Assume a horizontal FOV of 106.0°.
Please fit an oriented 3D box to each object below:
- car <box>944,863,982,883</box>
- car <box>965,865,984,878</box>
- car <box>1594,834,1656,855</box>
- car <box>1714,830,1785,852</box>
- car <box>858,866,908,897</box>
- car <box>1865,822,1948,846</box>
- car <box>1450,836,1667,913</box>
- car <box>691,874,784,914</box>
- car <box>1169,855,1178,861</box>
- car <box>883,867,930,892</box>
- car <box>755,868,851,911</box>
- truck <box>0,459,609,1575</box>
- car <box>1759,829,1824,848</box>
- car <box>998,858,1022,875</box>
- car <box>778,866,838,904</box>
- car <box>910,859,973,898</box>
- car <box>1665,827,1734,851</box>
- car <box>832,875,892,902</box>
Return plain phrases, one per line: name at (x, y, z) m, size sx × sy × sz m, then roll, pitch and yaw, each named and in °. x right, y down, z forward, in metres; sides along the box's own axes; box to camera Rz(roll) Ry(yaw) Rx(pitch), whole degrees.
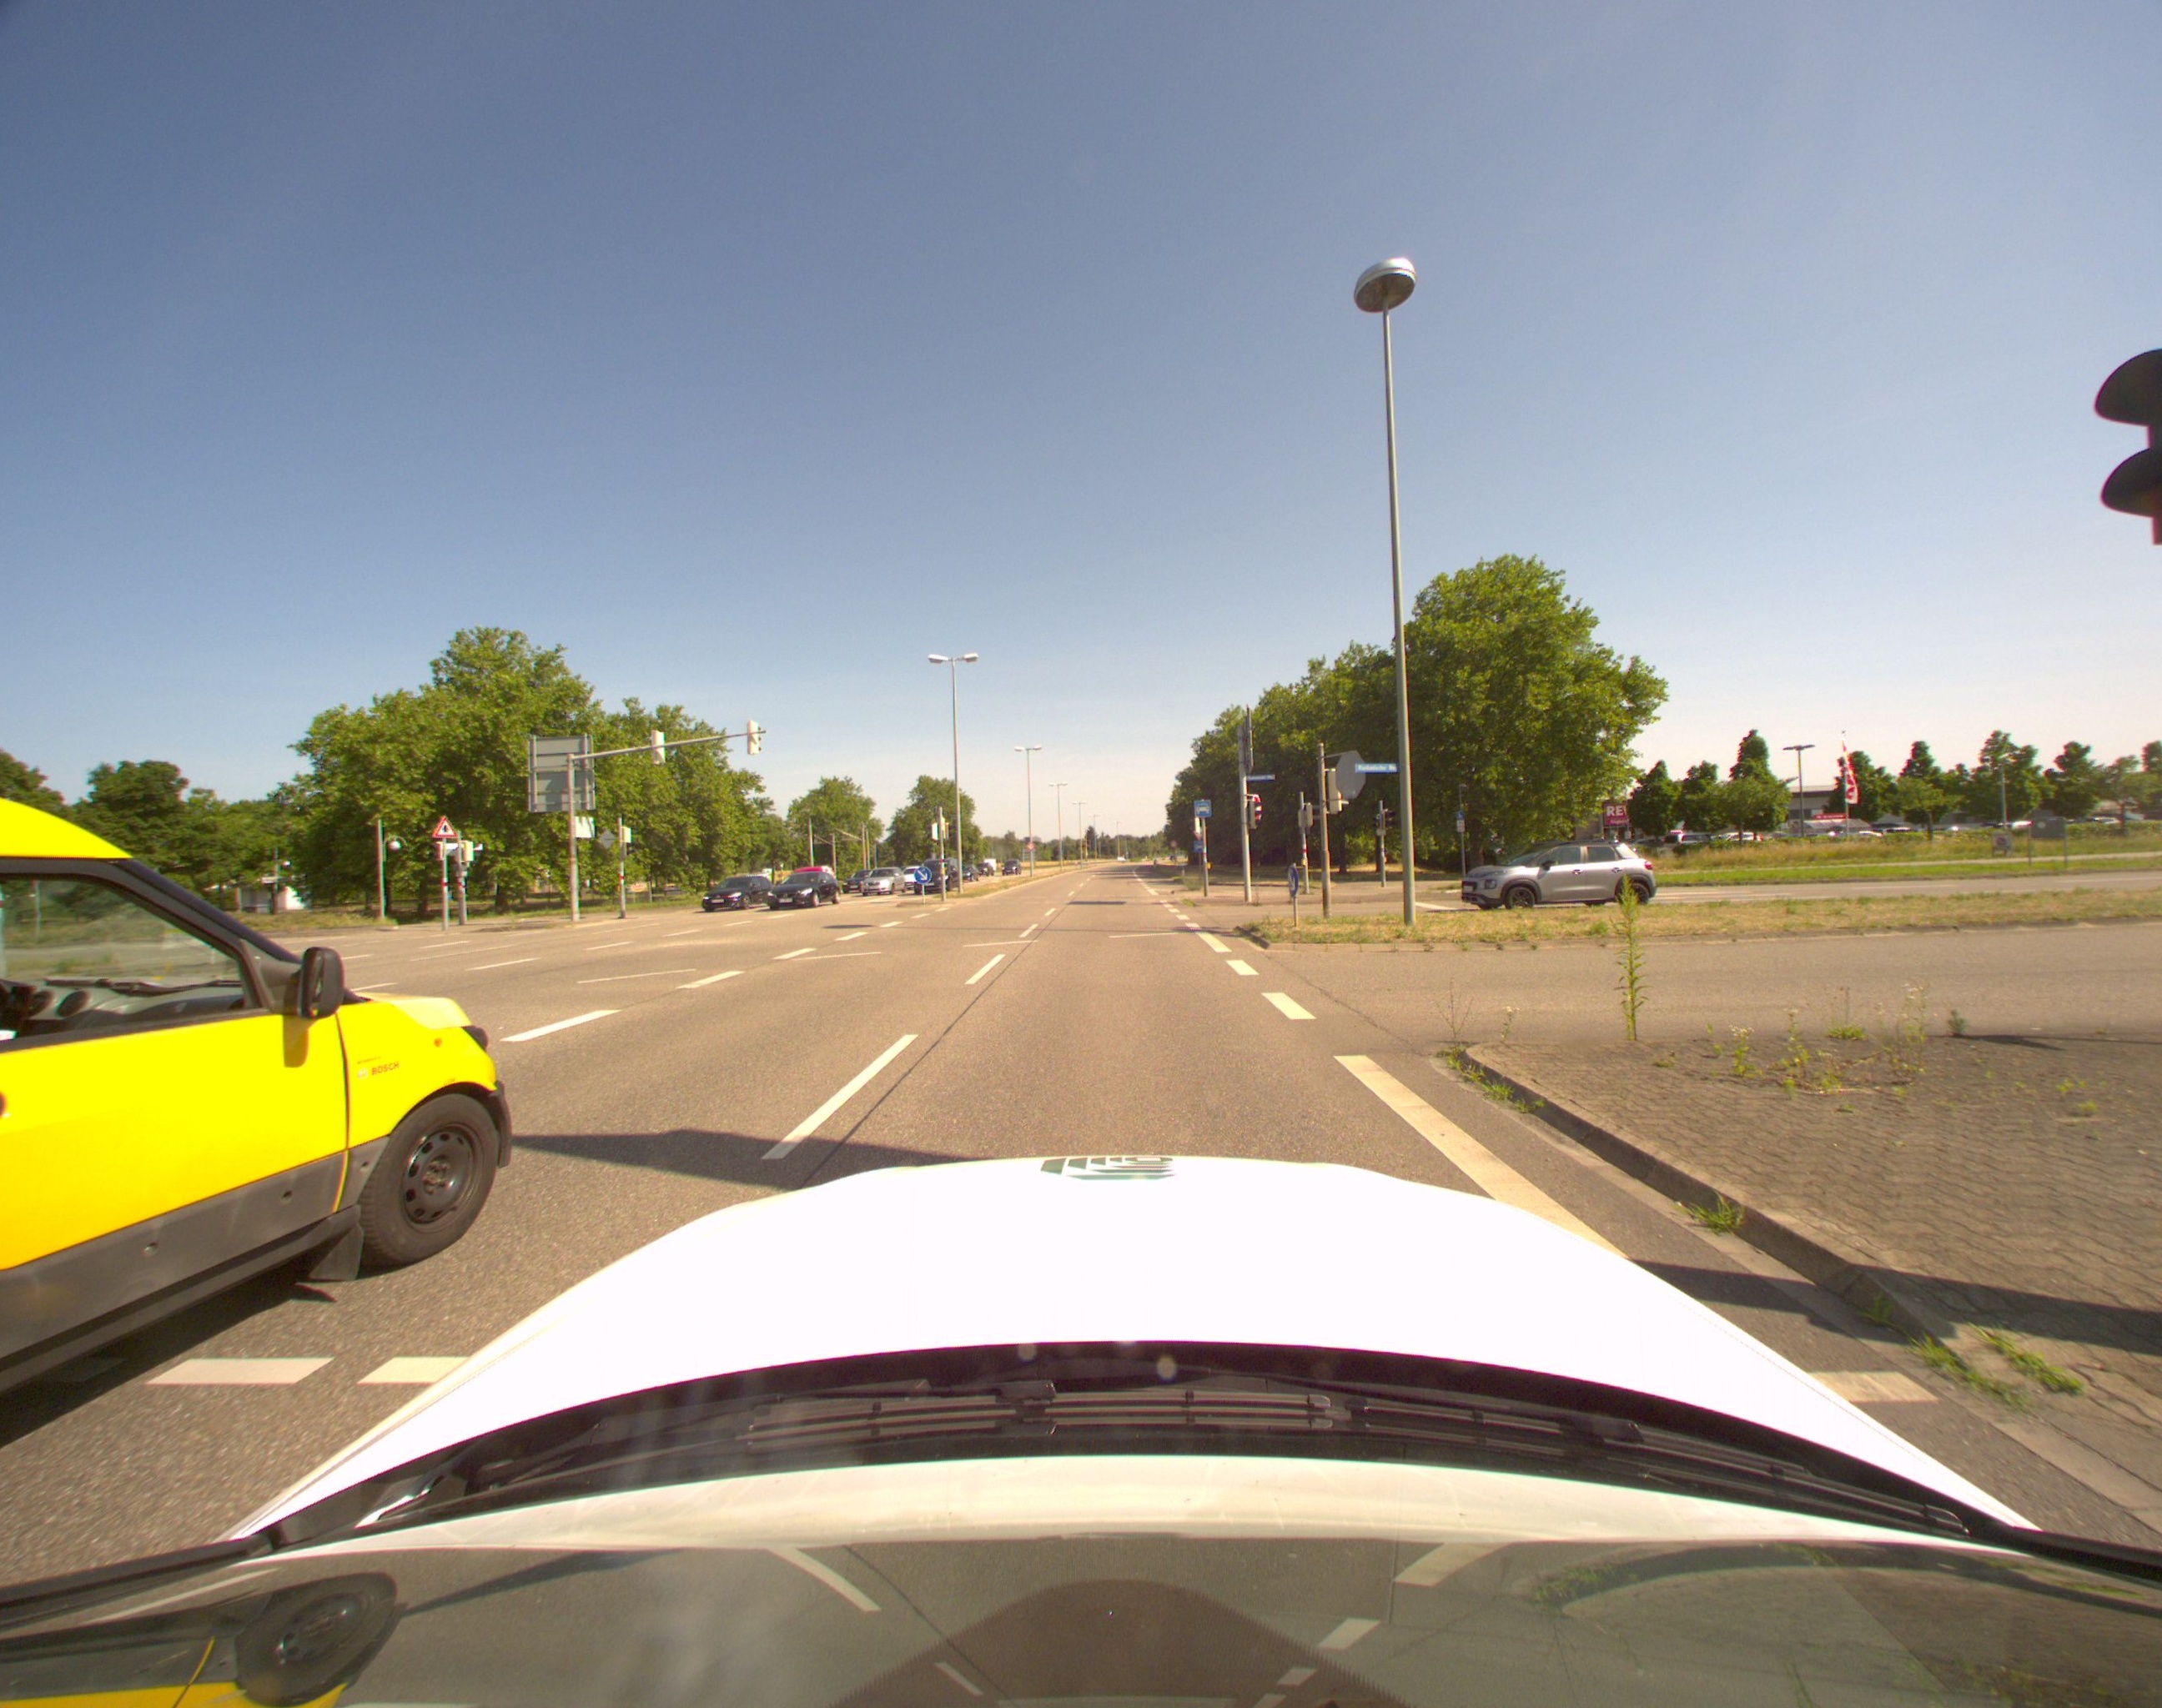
car at (-9.513, 1.477, 65.984) m, size 1.972 × 1.457 × 4.456 m, roll -2°, pitch 0°, yaw 5°
car at (-12.448, 2.032, 95.772) m, size 1.978 × 1.457 × 4.221 m, roll -2°, pitch 0°, yaw -5°
car at (52.175, -0.895, 78.204) m, size 4.469 × 1.750 × 1.992 m, roll -2°, pitch -1°, yaw 7°
car at (59.043, -1.156, 72.015) m, size 4.469 × 1.750 × 1.992 m, roll -2°, pitch -1°, yaw 7°
car at (-10.648, 1.450, 44.027) m, size 1.613 × 1.457 × 3.873 m, roll -2°, pitch 0°, yaw 2°
car at (69.280, -1.639, 68.421) m, size 4.452 × 1.750 × 1.999 m, roll -3°, pitch -1°, yaw 24°
car at (11.100, 0.464, 19.146) m, size 4.036 × 1.564 × 1.743 m, roll -2°, pitch -1°, yaw 1°
car at (-14.705, 1.661, 35.159) m, size 1.876 × 1.457 × 4.235 m, roll -2°, pitch 0°, yaw 5°
car at (26.720, 1.139, 235.301) m, size 1.968 × 1.457 × 4.131 m, roll -3°, pitch 0°, yaw 12°
car at (-10.978, 1.567, 51.455) m, size 1.820 × 1.386 × 3.848 m, roll -2°, pitch 0°, yaw 5°
car at (-10.899, 1.358, 32.275) m, size 1.972 × 1.457 × 4.338 m, roll -2°, pitch 0°, yaw 5°
truck at (-3.465, 0.366, 1.013) m, size 2.104 × 2.457 × 5.919 m, roll -1°, pitch -1°, yaw 2°
car at (71.046, -1.534, 81.500) m, size 4.461 × 1.750 × 1.995 m, roll -3°, pitch -1°, yaw 13°
car at (-8.152, 1.439, 93.918) m, size 1.973 × 1.779 × 4.494 m, roll -2°, pitch 0°, yaw 3°
car at (-14.289, 1.566, 42.827) m, size 1.699 × 1.769 × 4.227 m, roll -3°, pitch 0°, yaw -1°
car at (-6.893, 1.156, 40.646) m, size 1.972 × 1.750 × 4.513 m, roll -2°, pitch 0°, yaw 5°
car at (50.168, -1.194, 66.141) m, size 3.962 × 1.728 × 2.006 m, roll -3°, pitch 0°, yaw 10°
car at (-14.333, 2.249, 53.686) m, size 1.984 × 1.474 × 5.623 m, roll -2°, pitch -1°, yaw 4°
